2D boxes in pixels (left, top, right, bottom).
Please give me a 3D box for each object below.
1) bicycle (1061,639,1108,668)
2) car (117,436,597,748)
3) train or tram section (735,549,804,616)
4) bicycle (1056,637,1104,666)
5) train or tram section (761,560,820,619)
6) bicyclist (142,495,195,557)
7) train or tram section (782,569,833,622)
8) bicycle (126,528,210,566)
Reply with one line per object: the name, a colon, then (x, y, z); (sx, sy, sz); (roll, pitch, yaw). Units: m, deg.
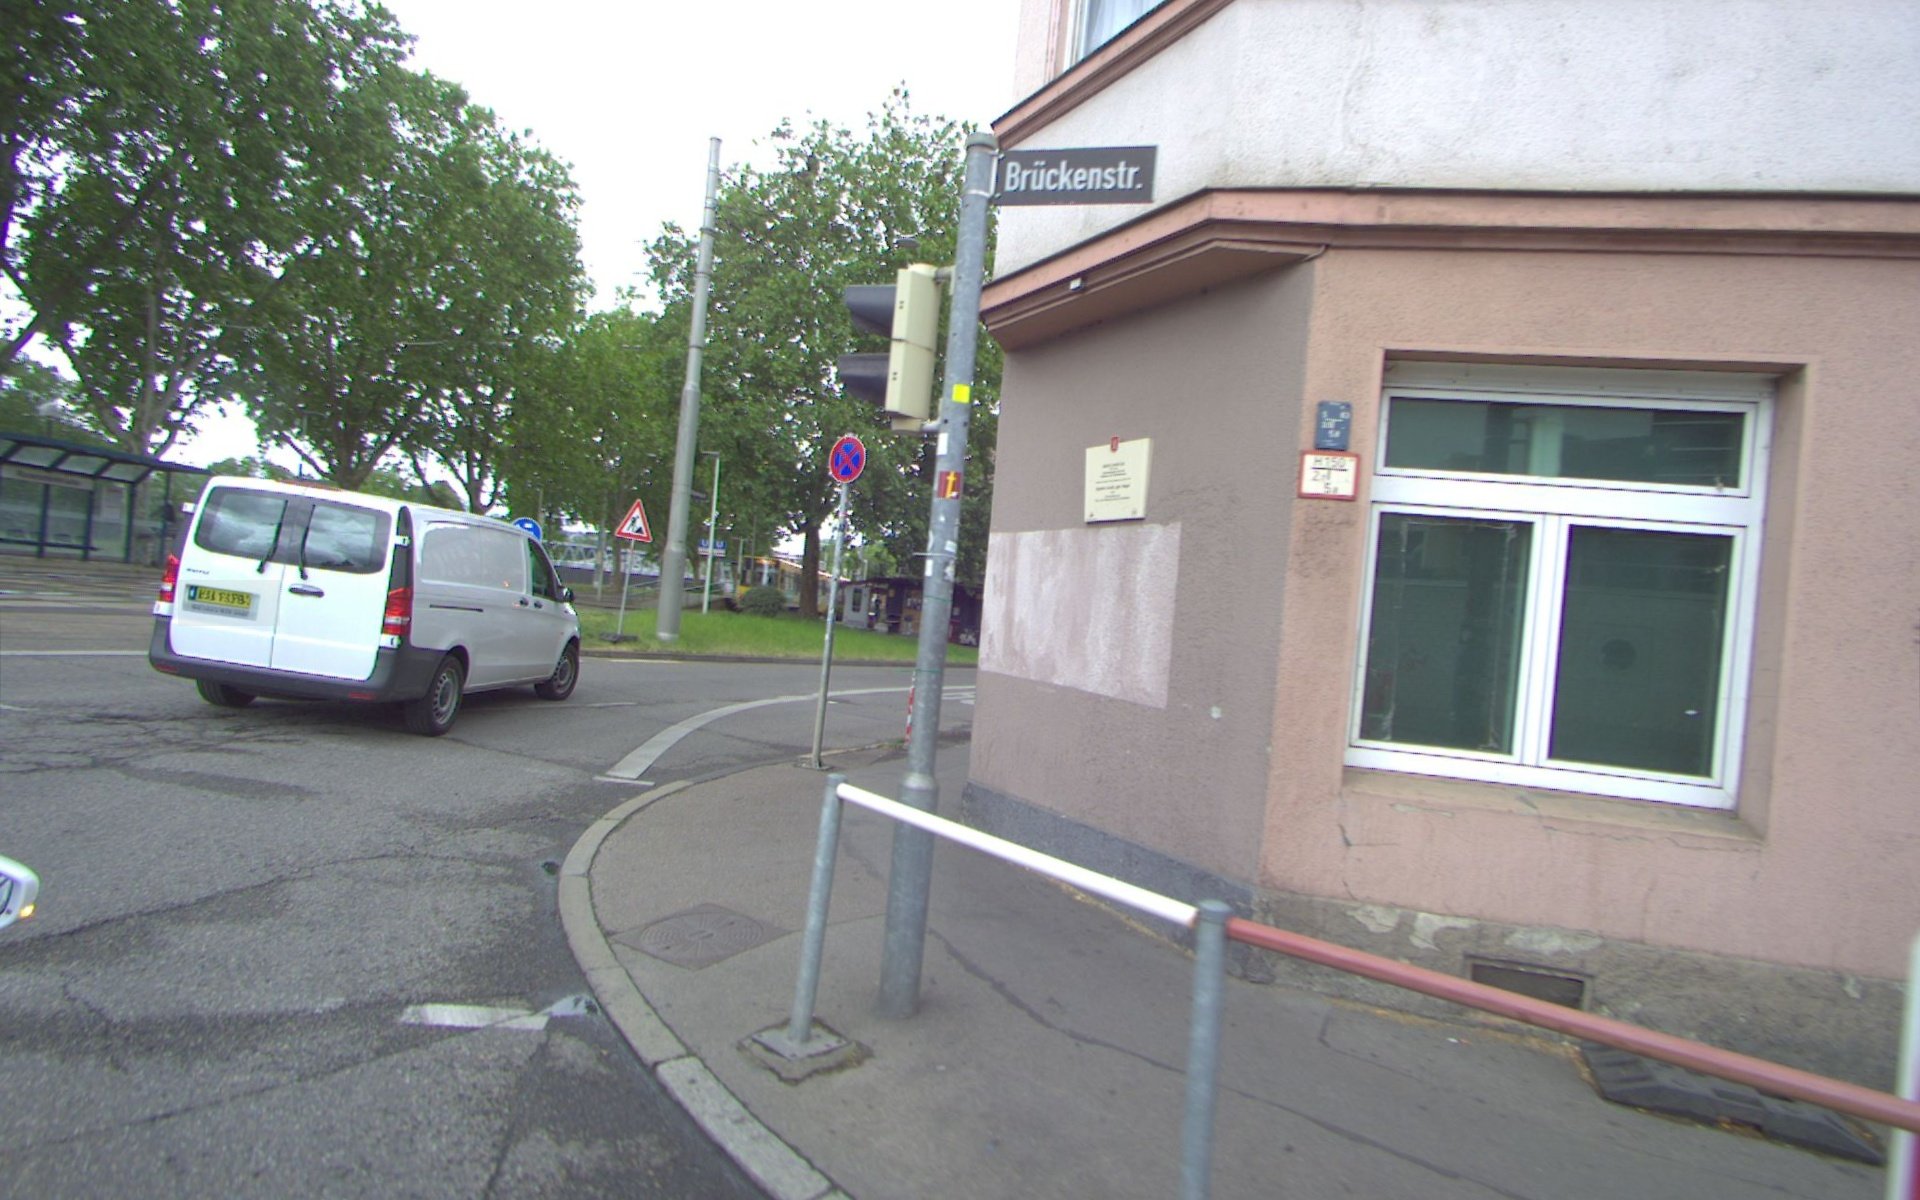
bicycle: (5.723, 2.467, 46.283); (1.965, 1.047, 0.563); (7, -1, 13)
car: (-5.203, 0.022, 9.654); (1.923, 2.037, 4.697); (7, -2, -6)
train or tram section: (-11.720, -0.960, 62.488); (2.539, 3.490, 7.763); (5, -2, 0)
bicycle: (5.393, 2.313, 45.087); (1.965, 1.047, 0.563); (7, -1, 13)
train or tram section: (-11.722, -0.629, 70.285); (2.539, 3.490, 7.763); (5, -2, 0)
bicyclist: (-28.612, -2.651, 36.375); (0.940, 2.037, 0.978); (5, -1, 2)
train or tram section: (-11.712, -0.264, 77.992); (2.539, 3.490, 7.763); (5, -2, 0)
bicycle: (-28.666, -1.893, 36.476); (0.917, 1.025, 2.500); (5, -2, 1)
